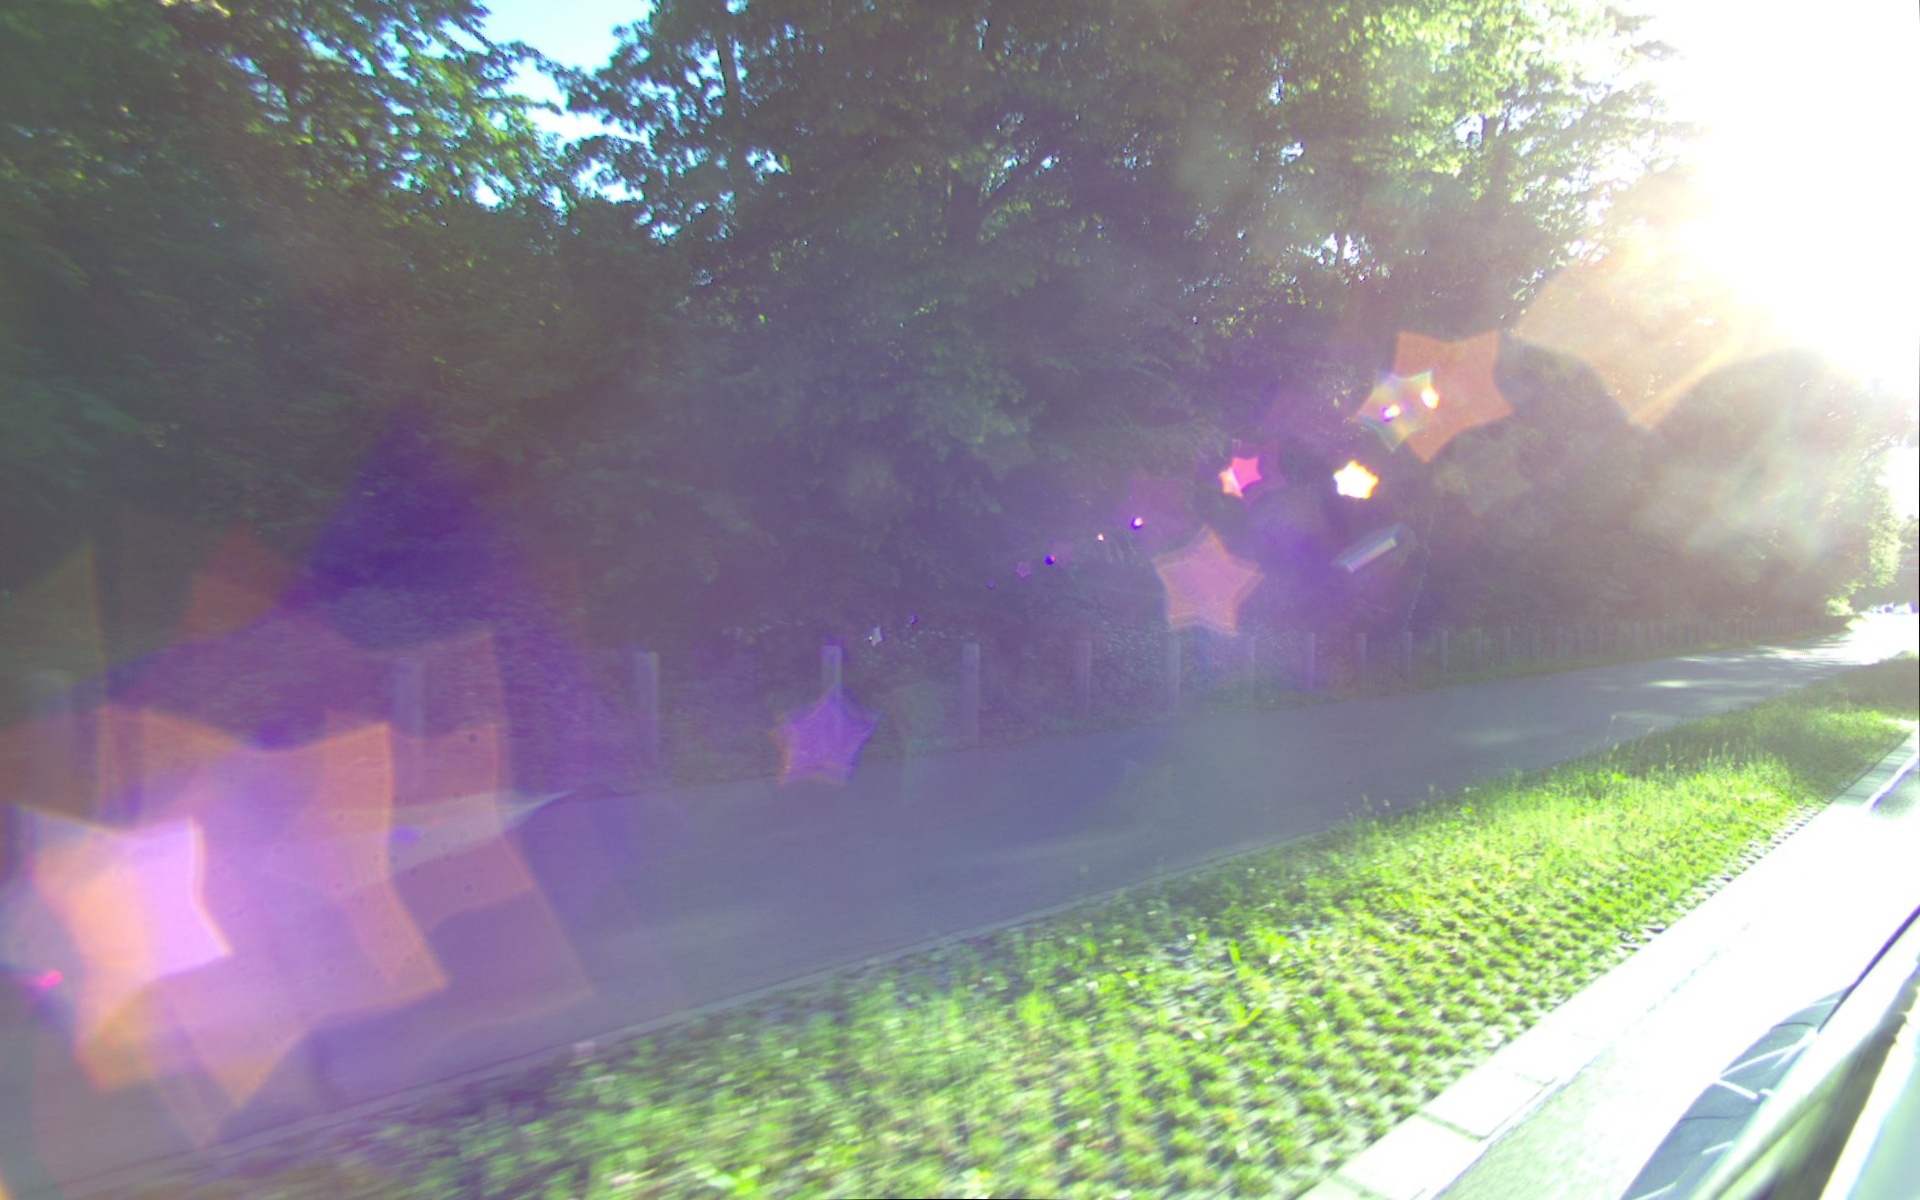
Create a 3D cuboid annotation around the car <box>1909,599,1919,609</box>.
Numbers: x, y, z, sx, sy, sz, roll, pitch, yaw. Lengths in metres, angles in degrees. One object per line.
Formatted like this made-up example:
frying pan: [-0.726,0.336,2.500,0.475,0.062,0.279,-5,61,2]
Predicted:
car: [161.065,0.722,170.101,1.817,1.705,3.947,1,1,37]
